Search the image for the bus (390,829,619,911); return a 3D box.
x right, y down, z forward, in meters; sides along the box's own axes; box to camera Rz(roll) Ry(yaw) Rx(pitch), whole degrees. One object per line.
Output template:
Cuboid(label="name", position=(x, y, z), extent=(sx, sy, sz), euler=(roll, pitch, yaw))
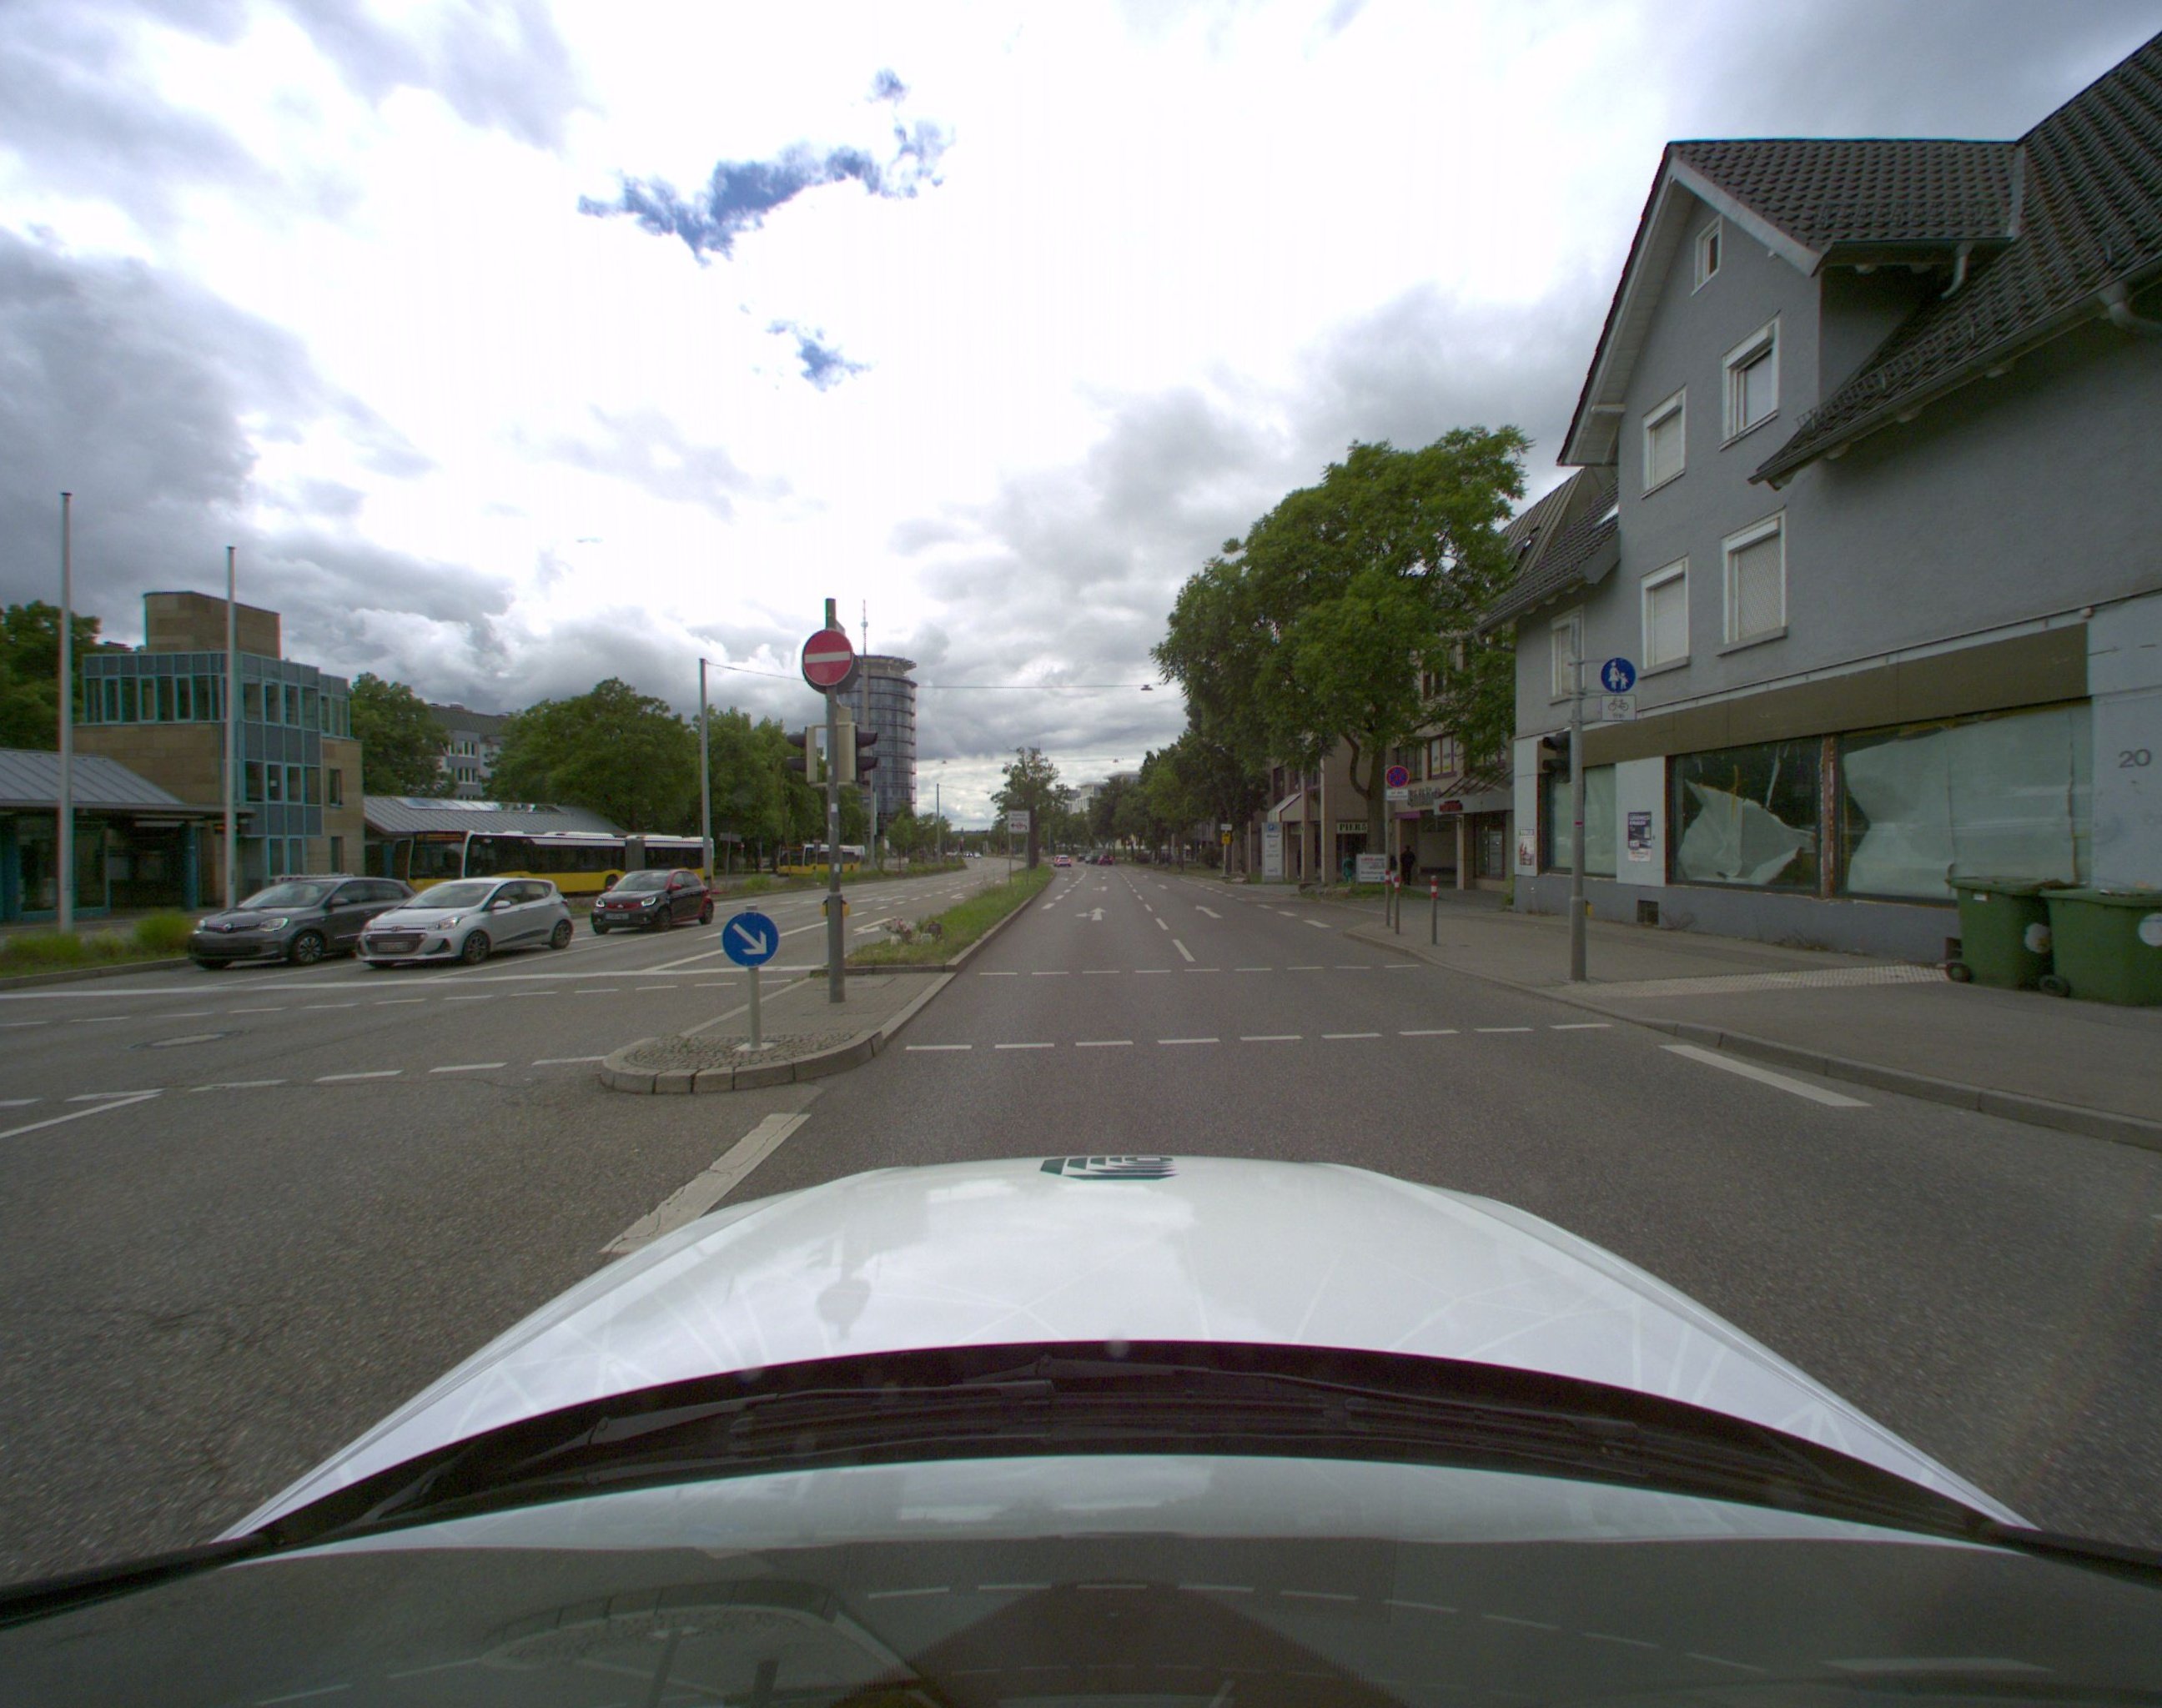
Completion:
Cuboid(label="bus", position=(-24.959, 0.646, 36.173), extent=(2.763, 3.132, 9.450), euler=(1, 0, 5))

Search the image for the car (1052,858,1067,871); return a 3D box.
Cuboid(label="car", position=(-3.000, 1.485, 114.494), extent=(1.989, 1.672, 3.996), euler=(-1, -1, -3))

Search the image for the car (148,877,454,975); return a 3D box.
Cuboid(label="car", position=(-14.356, 1.241, 15.373), extent=(1.808, 1.508, 4.002), euler=(-1, -1, 2))

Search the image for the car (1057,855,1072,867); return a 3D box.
Cuboid(label="car", position=(-2.251, 0.969, 108.730), extent=(1.859, 1.449, 3.996), euler=(-1, -1, -3))

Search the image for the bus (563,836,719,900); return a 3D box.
Cuboid(label="bus", position=(-24.074, 0.719, 45.362), extent=(2.795, 3.132, 9.315), euler=(1, 0, 6))

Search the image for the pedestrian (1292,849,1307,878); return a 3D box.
Cuboid(label="pedestrian", position=(12.954, 0.575, 48.335), extent=(0.592, 1.705, 0.970), euler=(-1, -1, 2))

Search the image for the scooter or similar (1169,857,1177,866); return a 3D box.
Cuboid(label="scooter or similar", position=(10.265, 0.873, 90.848), extent=(0.583, 0.994, 0.844), euler=(-3, -1, -7))

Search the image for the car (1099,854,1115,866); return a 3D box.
Cuboid(label="car", position=(3.545, 0.846, 111.713), extent=(1.989, 1.596, 3.996), euler=(-1, 0, -3))

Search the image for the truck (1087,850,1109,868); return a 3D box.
Cuboid(label="truck", position=(2.506, 0.728, 121.558), extent=(2.852, 2.519, 6.280), euler=(-1, -1, -3))

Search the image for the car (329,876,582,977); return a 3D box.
Cuboid(label="car", position=(-11.181, 1.209, 14.937), extent=(1.740, 1.465, 3.788), euler=(-1, 0, -1))

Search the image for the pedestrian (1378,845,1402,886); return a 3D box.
Cuboid(label="pedestrian", position=(13.347, 0.500, 35.206), extent=(0.655, 1.691, 0.843), euler=(-3, -1, 1))

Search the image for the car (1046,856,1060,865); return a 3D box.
Cuboid(label="car", position=(-4.726, 1.127, 136.933), extent=(1.986, 1.508, 4.002), euler=(-1, 0, 2))

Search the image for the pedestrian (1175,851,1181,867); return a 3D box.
Cuboid(label="pedestrian", position=(10.941, 0.578, 91.895), extent=(0.565, 1.700, 0.829), euler=(-1, -1, 1))

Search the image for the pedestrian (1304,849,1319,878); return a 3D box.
Cuboid(label="pedestrian", position=(13.672, 0.579, 48.271), extent=(0.592, 1.705, 0.970), euler=(-1, -1, 2))

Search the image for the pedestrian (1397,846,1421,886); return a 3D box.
Cuboid(label="pedestrian", position=(14.153, 0.504, 35.150), extent=(0.655, 1.691, 0.843), euler=(-3, -1, 1))

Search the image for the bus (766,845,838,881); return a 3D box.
Cuboid(label="bus", position=(-26.418, 0.821, 77.736), extent=(3.073, 3.163, 10.736), euler=(0, 0, 0))

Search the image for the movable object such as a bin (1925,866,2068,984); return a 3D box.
Cuboid(label="movable object such as a bin", position=(9.055, 0.675, 8.080), extent=(0.606, 1.104, 0.710), euler=(-1, -1, 1))

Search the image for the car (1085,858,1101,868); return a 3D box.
Cuboid(label="car", position=(1.873, 1.436, 128.275), extent=(1.991, 1.508, 3.992), euler=(-2, 0, -6))

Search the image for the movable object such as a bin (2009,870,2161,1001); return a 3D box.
Cuboid(label="movable object such as a bin", position=(9.057, 0.699, 7.313), extent=(0.624, 1.104, 0.710), euler=(-1, -1, 1))

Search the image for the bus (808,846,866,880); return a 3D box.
Cuboid(label="bus", position=(-26.207, 0.907, 88.170), extent=(3.020, 3.456, 9.913), euler=(0, 0, 1))

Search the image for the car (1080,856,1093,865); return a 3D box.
Cuboid(label="car", position=(0.936, 1.203, 143.989), extent=(1.990, 1.508, 3.993), euler=(-1, -1, -5))

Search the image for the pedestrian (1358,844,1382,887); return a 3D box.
Cuboid(label="pedestrian", position=(12.535, 0.496, 35.321), extent=(0.655, 1.826, 0.843), euler=(-3, -1, 1))

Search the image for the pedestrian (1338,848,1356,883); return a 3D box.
Cuboid(label="pedestrian", position=(12.085, 0.506, 36.979), extent=(0.559, 1.550, 0.544), euler=(-3, -1, 1))

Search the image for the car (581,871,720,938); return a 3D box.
Cuboid(label="car", position=(-10.946, 1.213, 21.011), extent=(1.654, 1.508, 3.765), euler=(-1, -1, -2))
